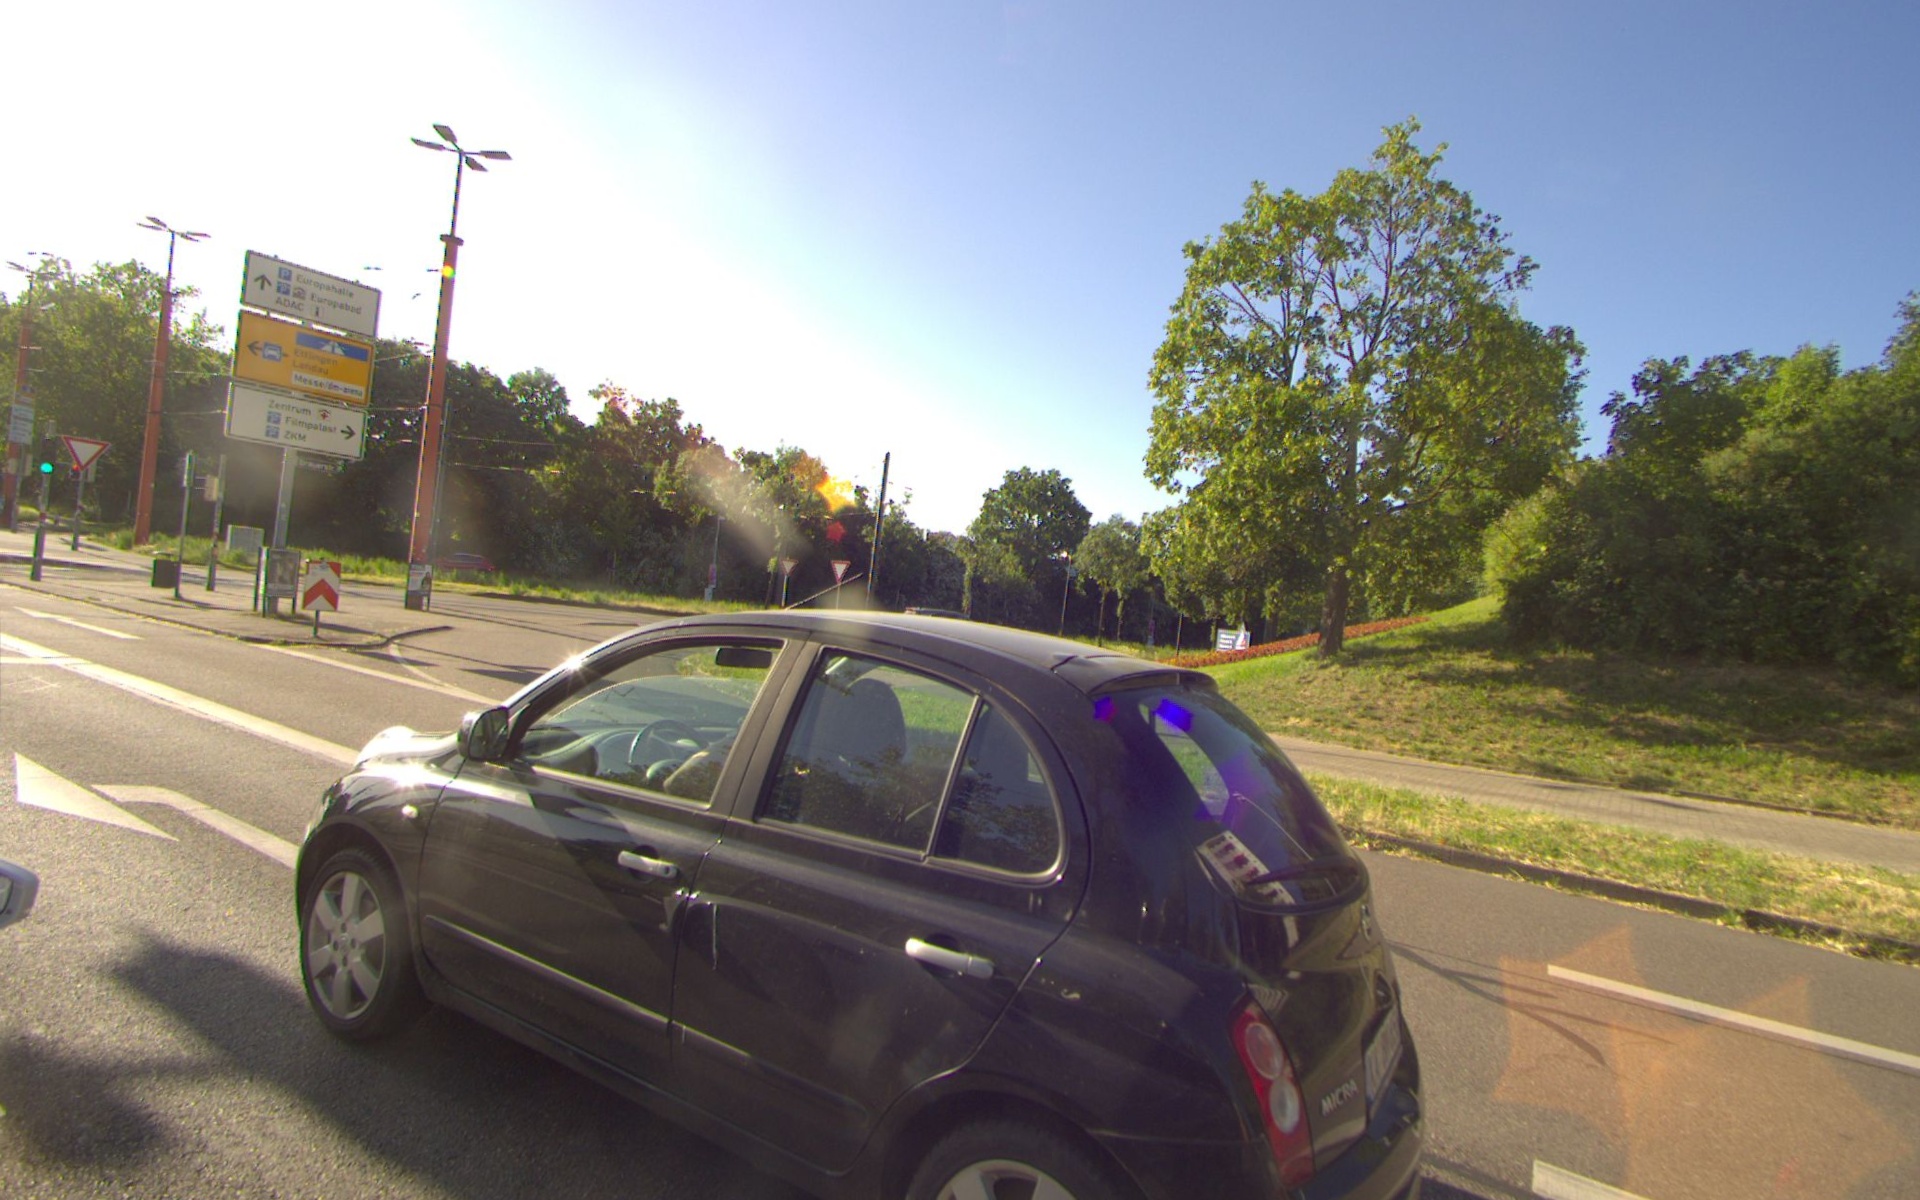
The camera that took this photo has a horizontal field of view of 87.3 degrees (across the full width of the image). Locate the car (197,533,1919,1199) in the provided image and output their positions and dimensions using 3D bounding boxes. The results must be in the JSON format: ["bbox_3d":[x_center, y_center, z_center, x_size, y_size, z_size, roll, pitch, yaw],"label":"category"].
[{"bbox_3d":[-0.210,0.808,3.054,4.545,1.500,1.737,7,-1,32],"label":"car"}]

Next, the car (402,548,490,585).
[{"bbox_3d":[-29.273,-1.893,57.262,4.244,1.513,1.984,8,0,-31],"label":"car"}]

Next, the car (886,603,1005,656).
[{"bbox_3d":[-0.606,1.277,43.425,4.641,1.724,1.986,7,-1,-29],"label":"car"}]
